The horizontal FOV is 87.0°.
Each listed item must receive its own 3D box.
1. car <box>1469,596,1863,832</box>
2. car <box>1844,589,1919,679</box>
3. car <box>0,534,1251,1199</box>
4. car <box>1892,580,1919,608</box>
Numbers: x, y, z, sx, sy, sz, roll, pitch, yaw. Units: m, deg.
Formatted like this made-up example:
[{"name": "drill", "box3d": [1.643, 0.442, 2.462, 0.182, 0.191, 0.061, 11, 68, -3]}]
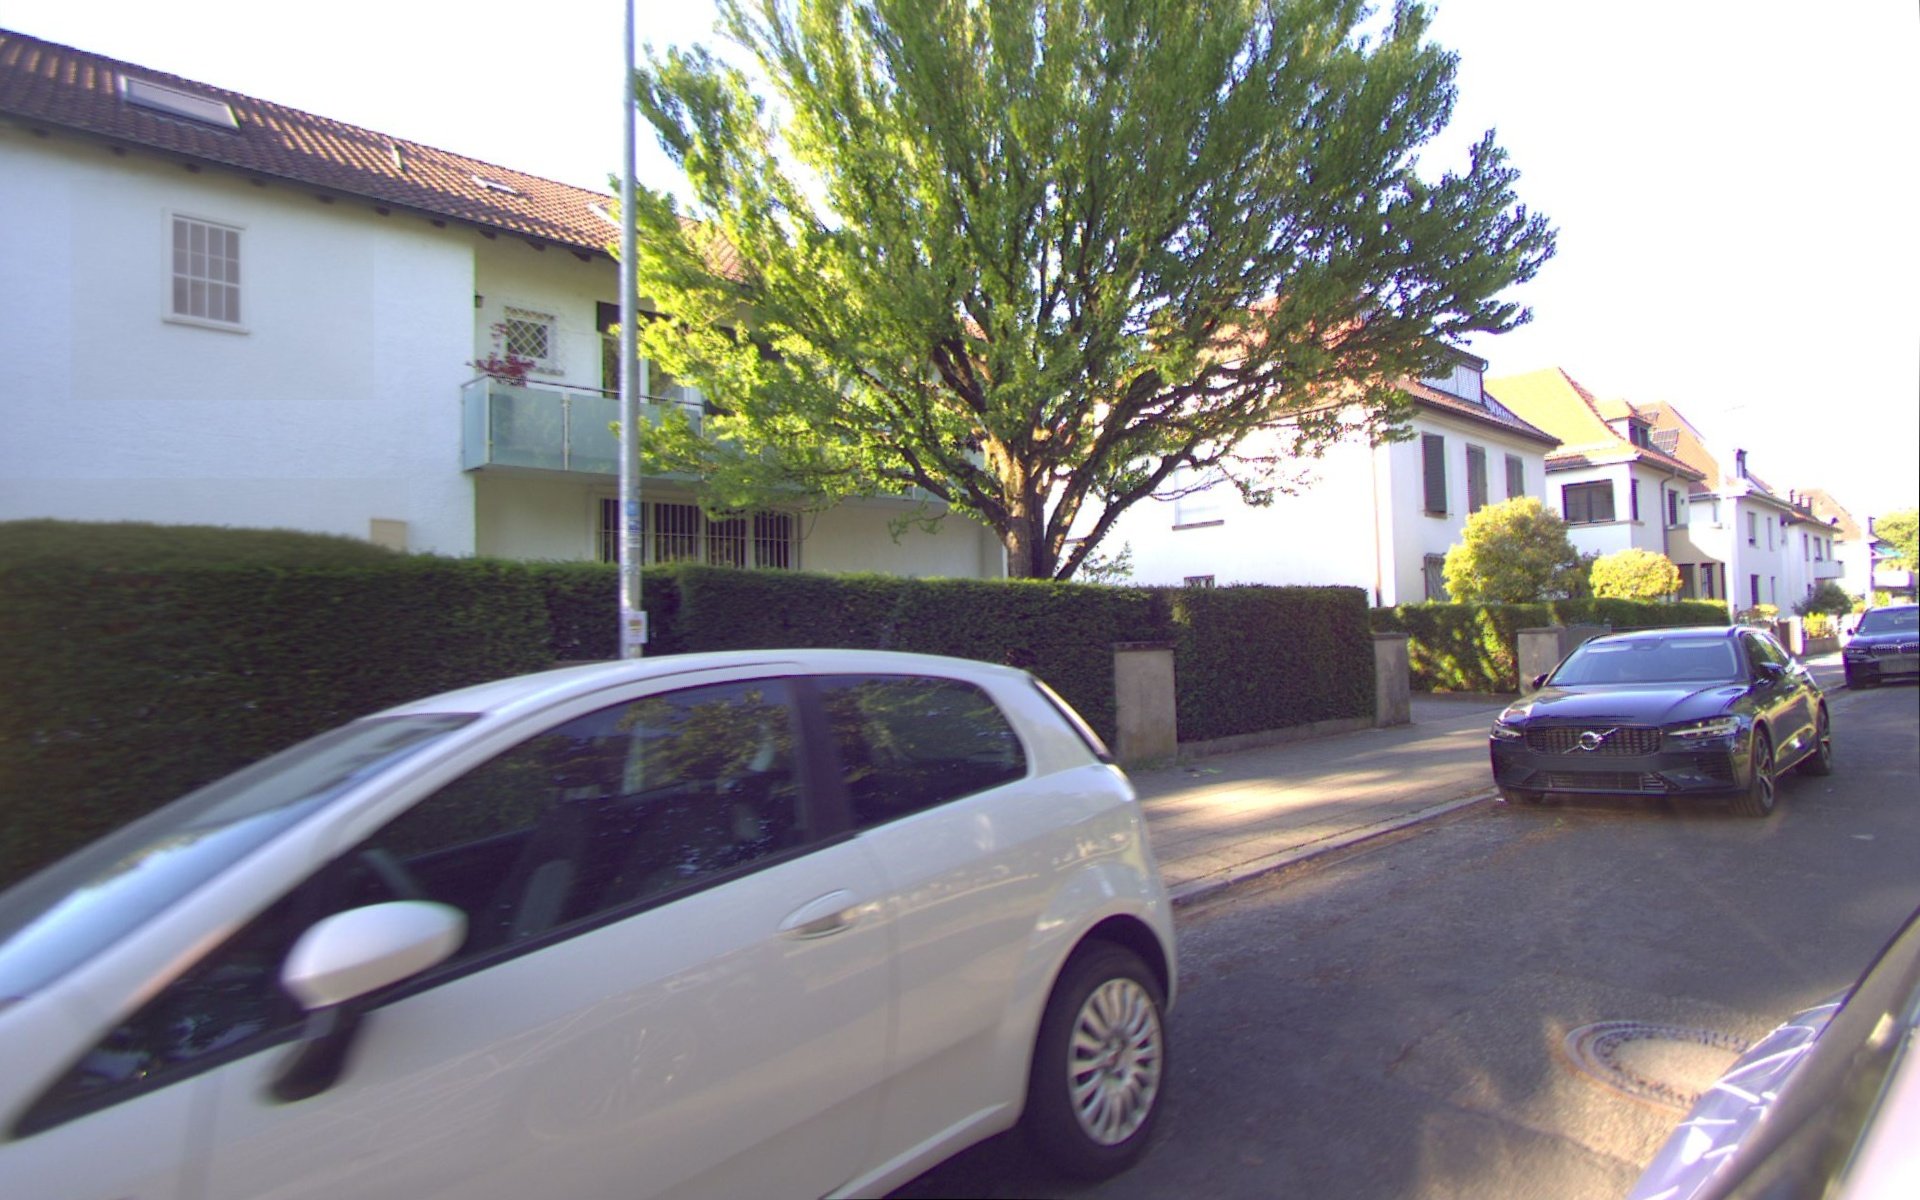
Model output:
[{"name": "car", "box3d": [6.469, 0.819, 9.039, 4.594, 1.511, 1.795, -1, -3, -42]}, {"name": "car", "box3d": [21.055, 0.628, 22.084, 4.782, 1.760, 1.994, -1, -6, -43]}, {"name": "car", "box3d": [-1.107, 0.762, 2.428, 3.866, 1.503, 1.690, 0, -7, -45]}, {"name": "car", "box3d": [68.436, -0.495, 71.207, 1.967, 1.953, 3.988, 0, -3, -44]}]
